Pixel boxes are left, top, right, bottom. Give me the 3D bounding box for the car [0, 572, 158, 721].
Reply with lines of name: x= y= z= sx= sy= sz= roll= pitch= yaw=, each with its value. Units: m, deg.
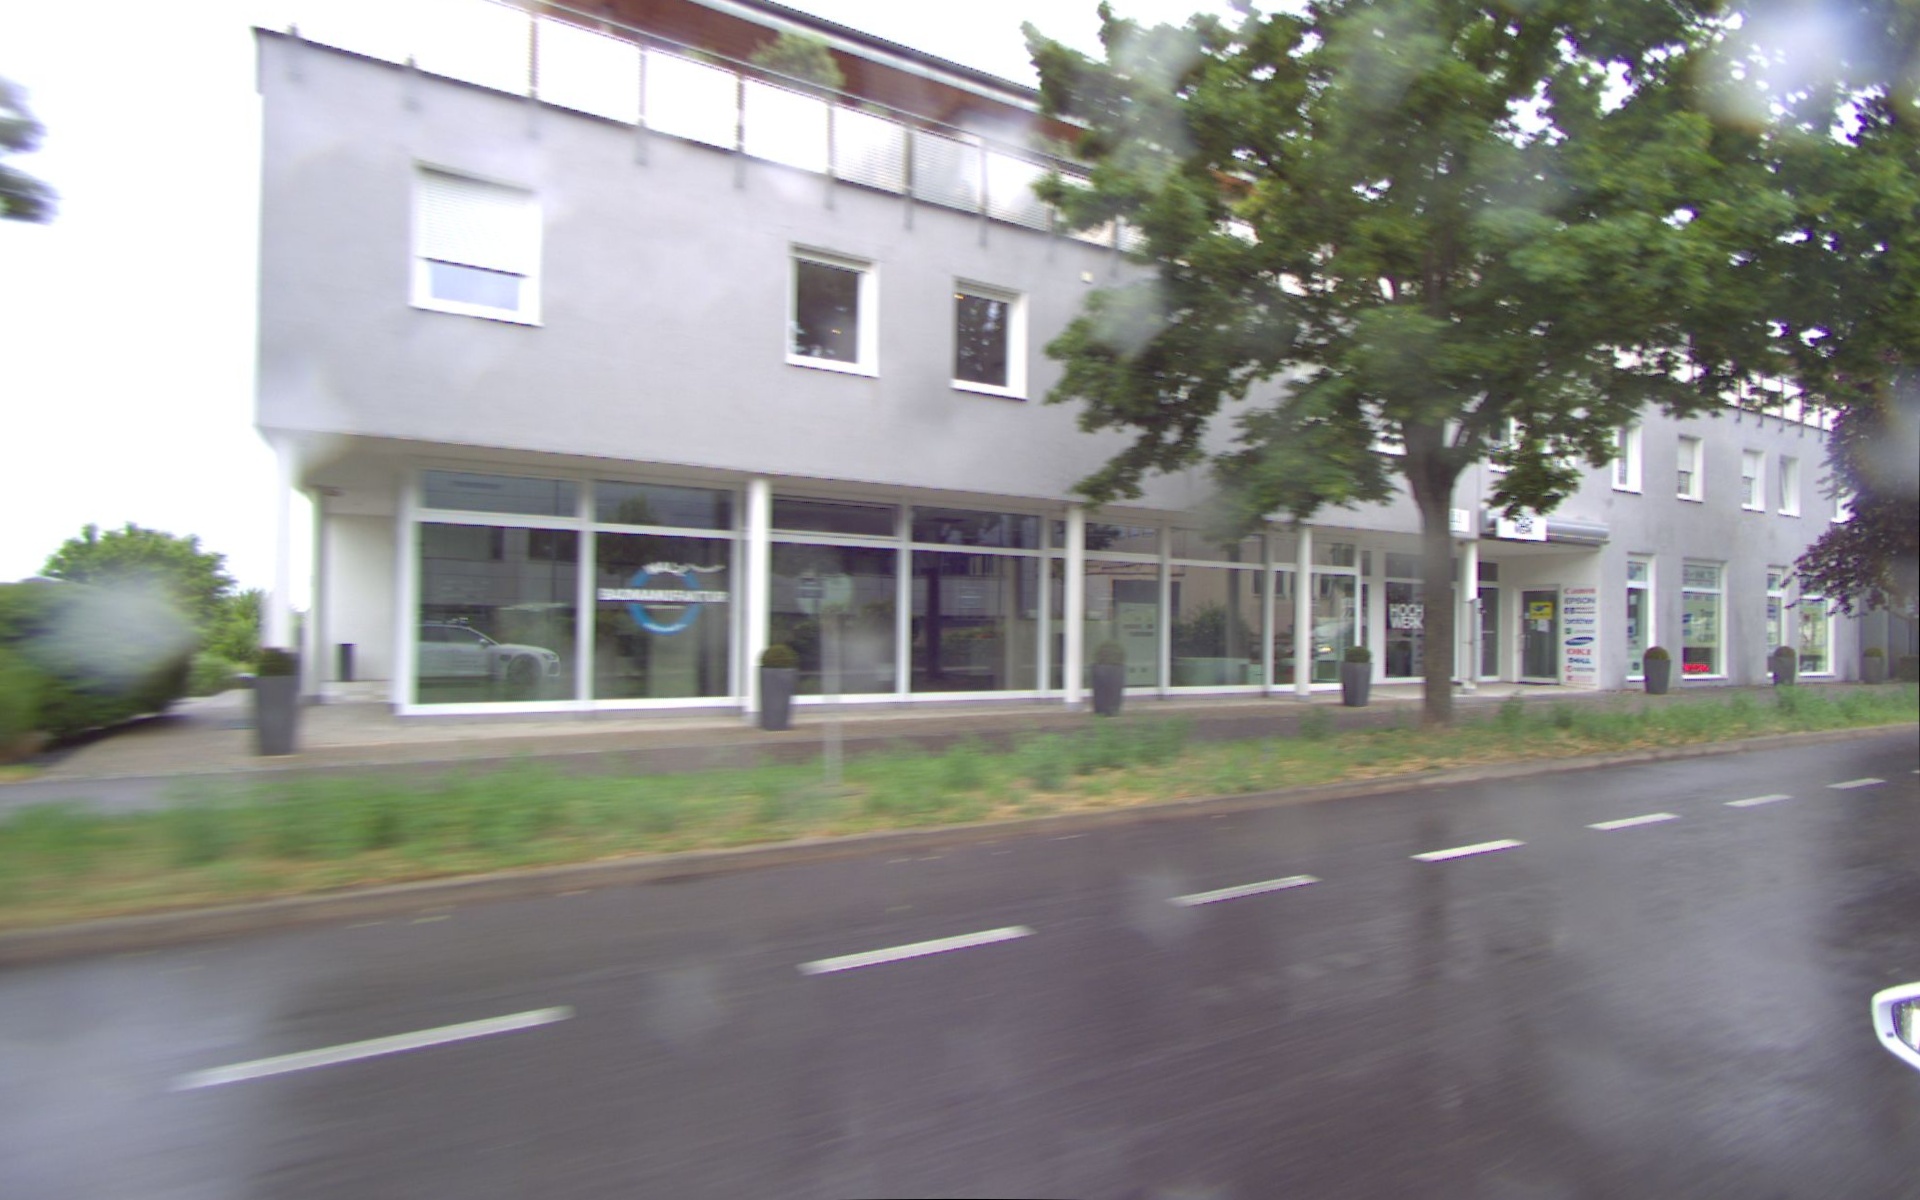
car: x=-16.085 y=0.731 z=17.755 sx=2.157 sy=2.341 sz=4.459 roll=0 pitch=0 yaw=-28
